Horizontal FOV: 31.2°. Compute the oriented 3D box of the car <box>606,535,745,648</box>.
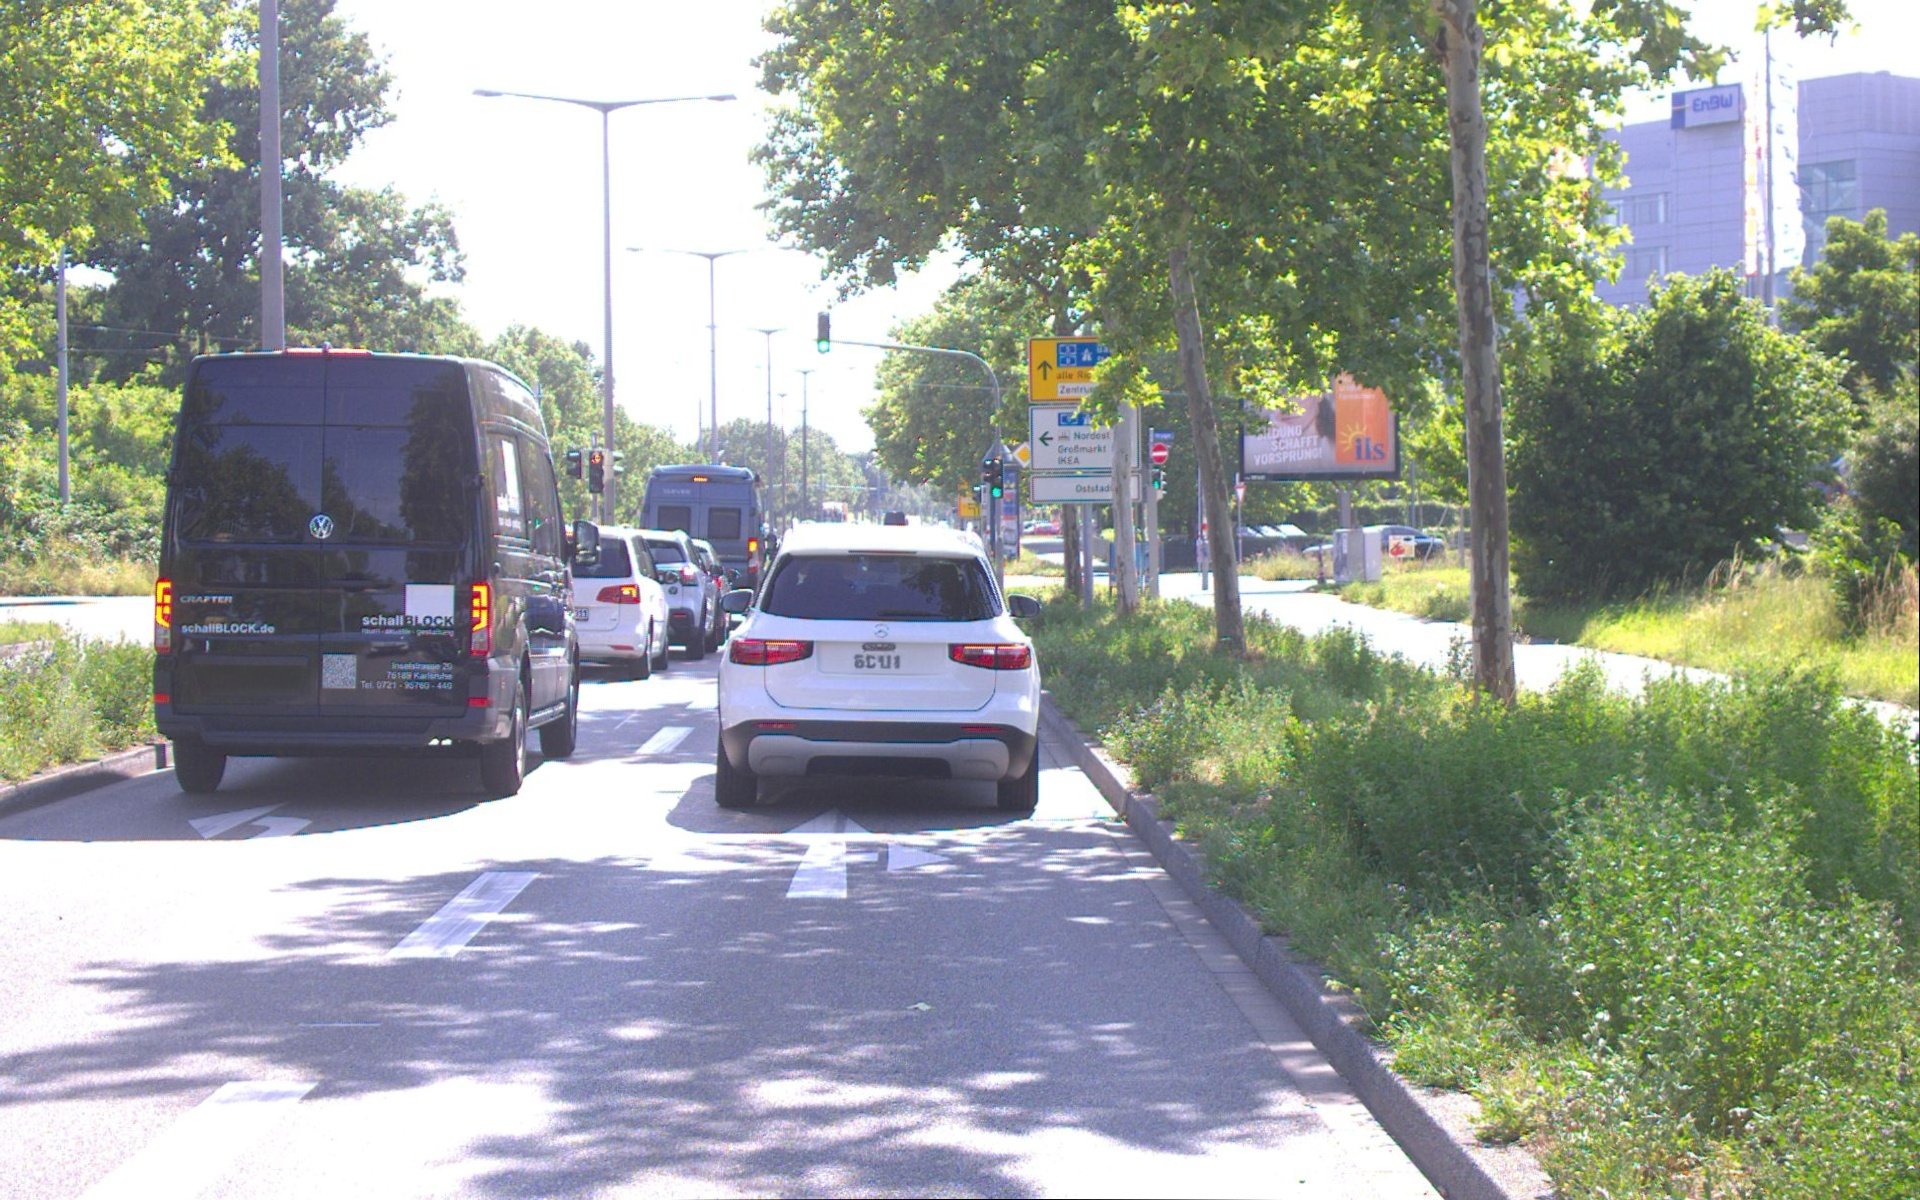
[{"bbox_3d":[-4.049,-0.155,49.351,1.691,1.499,3.886,1,1,-1],"label":"car"}]

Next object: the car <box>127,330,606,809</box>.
[{"bbox_3d":[-3.570,-0.210,21.910,2.016,2.598,6.169,1,1,-1],"label":"car"}]

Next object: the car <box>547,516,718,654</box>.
[{"bbox_3d":[-4.076,-0.212,43.310,1.771,1.641,4.085,0,1,0],"label":"car"}]

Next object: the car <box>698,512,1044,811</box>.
[{"bbox_3d":[-0.498,0.300,20.714,1.853,1.602,4.000,1,1,0],"label":"car"}]

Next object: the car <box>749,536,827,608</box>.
[{"bbox_3d":[-3.449,-0.587,69.281,1.464,1.399,3.477,1,1,-1],"label":"car"}]

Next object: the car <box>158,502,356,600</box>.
[{"bbox_3d":[-17.911,-1.260,87.777,1.997,2.410,5.130,1,1,31],"label":"car"}]

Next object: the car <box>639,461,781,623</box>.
[{"bbox_3d":[-4.284,-1.002,59.592,2.081,2.647,4.874,1,1,0],"label":"car"}]

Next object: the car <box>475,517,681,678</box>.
[{"bbox_3d":[-4.093,-0.057,37.387,1.771,1.641,4.352,0,1,0],"label":"car"}]
